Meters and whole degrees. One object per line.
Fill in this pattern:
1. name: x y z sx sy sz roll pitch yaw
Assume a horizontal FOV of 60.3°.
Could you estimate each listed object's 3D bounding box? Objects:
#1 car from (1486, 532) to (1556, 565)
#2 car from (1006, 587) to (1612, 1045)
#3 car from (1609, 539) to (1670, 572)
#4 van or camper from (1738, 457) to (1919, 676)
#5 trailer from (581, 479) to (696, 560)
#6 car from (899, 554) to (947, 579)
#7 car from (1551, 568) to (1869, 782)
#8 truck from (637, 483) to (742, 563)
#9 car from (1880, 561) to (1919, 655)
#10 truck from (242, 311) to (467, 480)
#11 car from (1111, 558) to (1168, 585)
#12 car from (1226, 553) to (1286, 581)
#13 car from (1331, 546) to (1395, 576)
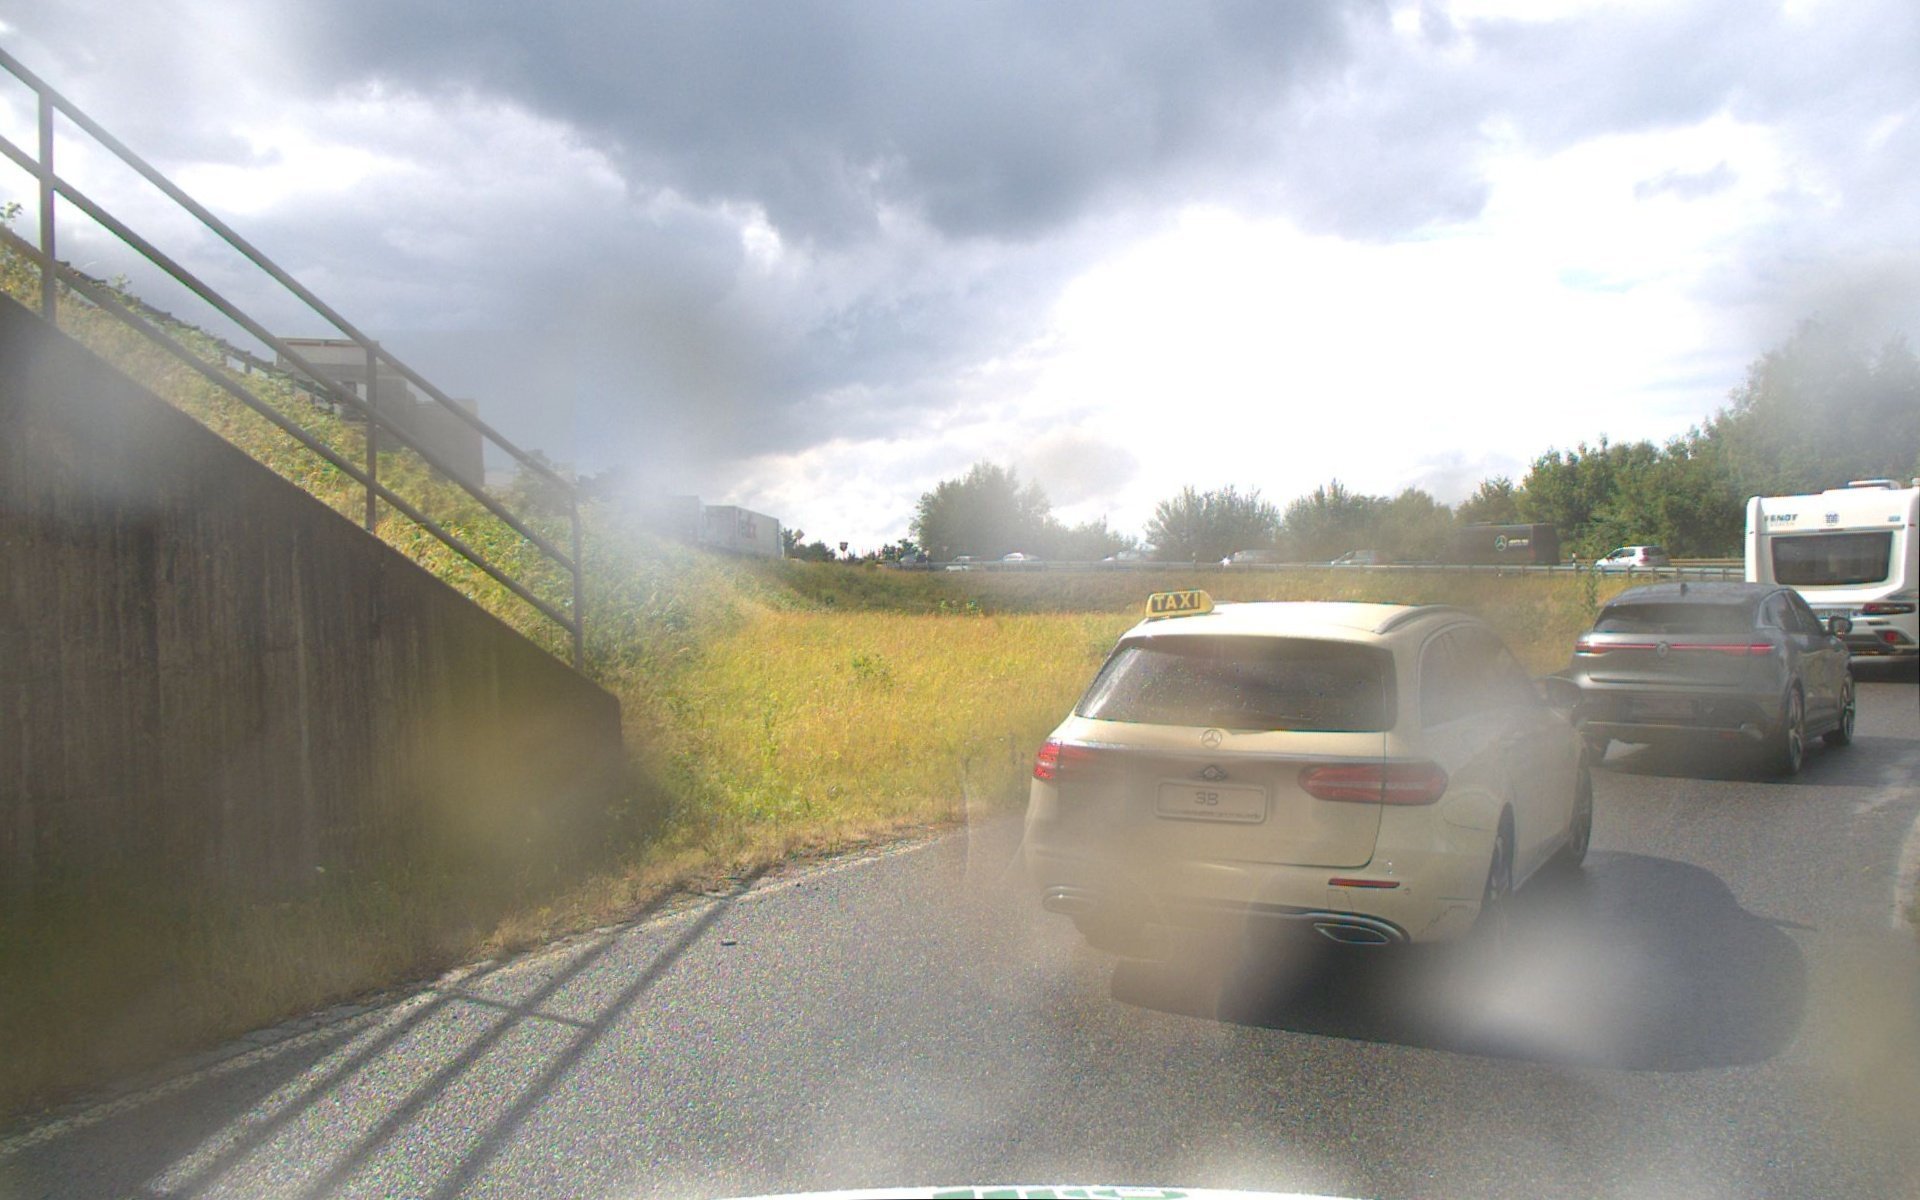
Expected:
1. car: 28.678 -2.627 84.637 1.449 1.562 3.294 -4 2 -28
2. car: 1.949 0.695 7.843 1.682 1.507 4.512 0 0 27
3. car: 31.868 -2.109 77.622 1.436 1.425 3.208 -3 2 -1
4. van or camper: 14.276 -0.501 25.225 2.315 2.870 7.563 -2 0 41
5. trailer: -17.656 -4.318 91.802 3.321 4.022 11.189 -3 1 4
6. car: -2.600 -2.353 116.815 3.265 1.562 1.462 -1 2 42
7. car: 6.647 0.529 14.451 1.814 1.506 3.794 0 2 36
8. truck: -16.718 -4.644 103.404 3.612 4.489 12.126 -3 1 4
9. car: 18.096 0.013 29.597 1.906 1.556 3.977 -7 -2 42
10. truck: -18.007 -5.951 50.040 3.379 3.677 9.243 -3 -1 -1
11. car: 11.355 -1.804 104.657 3.265 1.562 1.462 -1 2 42
12. car: 17.836 -1.971 99.677 3.265 1.562 1.462 -1 2 42
13. car: 22.934 -2.211 94.086 1.457 1.562 3.275 -4 2 -40
